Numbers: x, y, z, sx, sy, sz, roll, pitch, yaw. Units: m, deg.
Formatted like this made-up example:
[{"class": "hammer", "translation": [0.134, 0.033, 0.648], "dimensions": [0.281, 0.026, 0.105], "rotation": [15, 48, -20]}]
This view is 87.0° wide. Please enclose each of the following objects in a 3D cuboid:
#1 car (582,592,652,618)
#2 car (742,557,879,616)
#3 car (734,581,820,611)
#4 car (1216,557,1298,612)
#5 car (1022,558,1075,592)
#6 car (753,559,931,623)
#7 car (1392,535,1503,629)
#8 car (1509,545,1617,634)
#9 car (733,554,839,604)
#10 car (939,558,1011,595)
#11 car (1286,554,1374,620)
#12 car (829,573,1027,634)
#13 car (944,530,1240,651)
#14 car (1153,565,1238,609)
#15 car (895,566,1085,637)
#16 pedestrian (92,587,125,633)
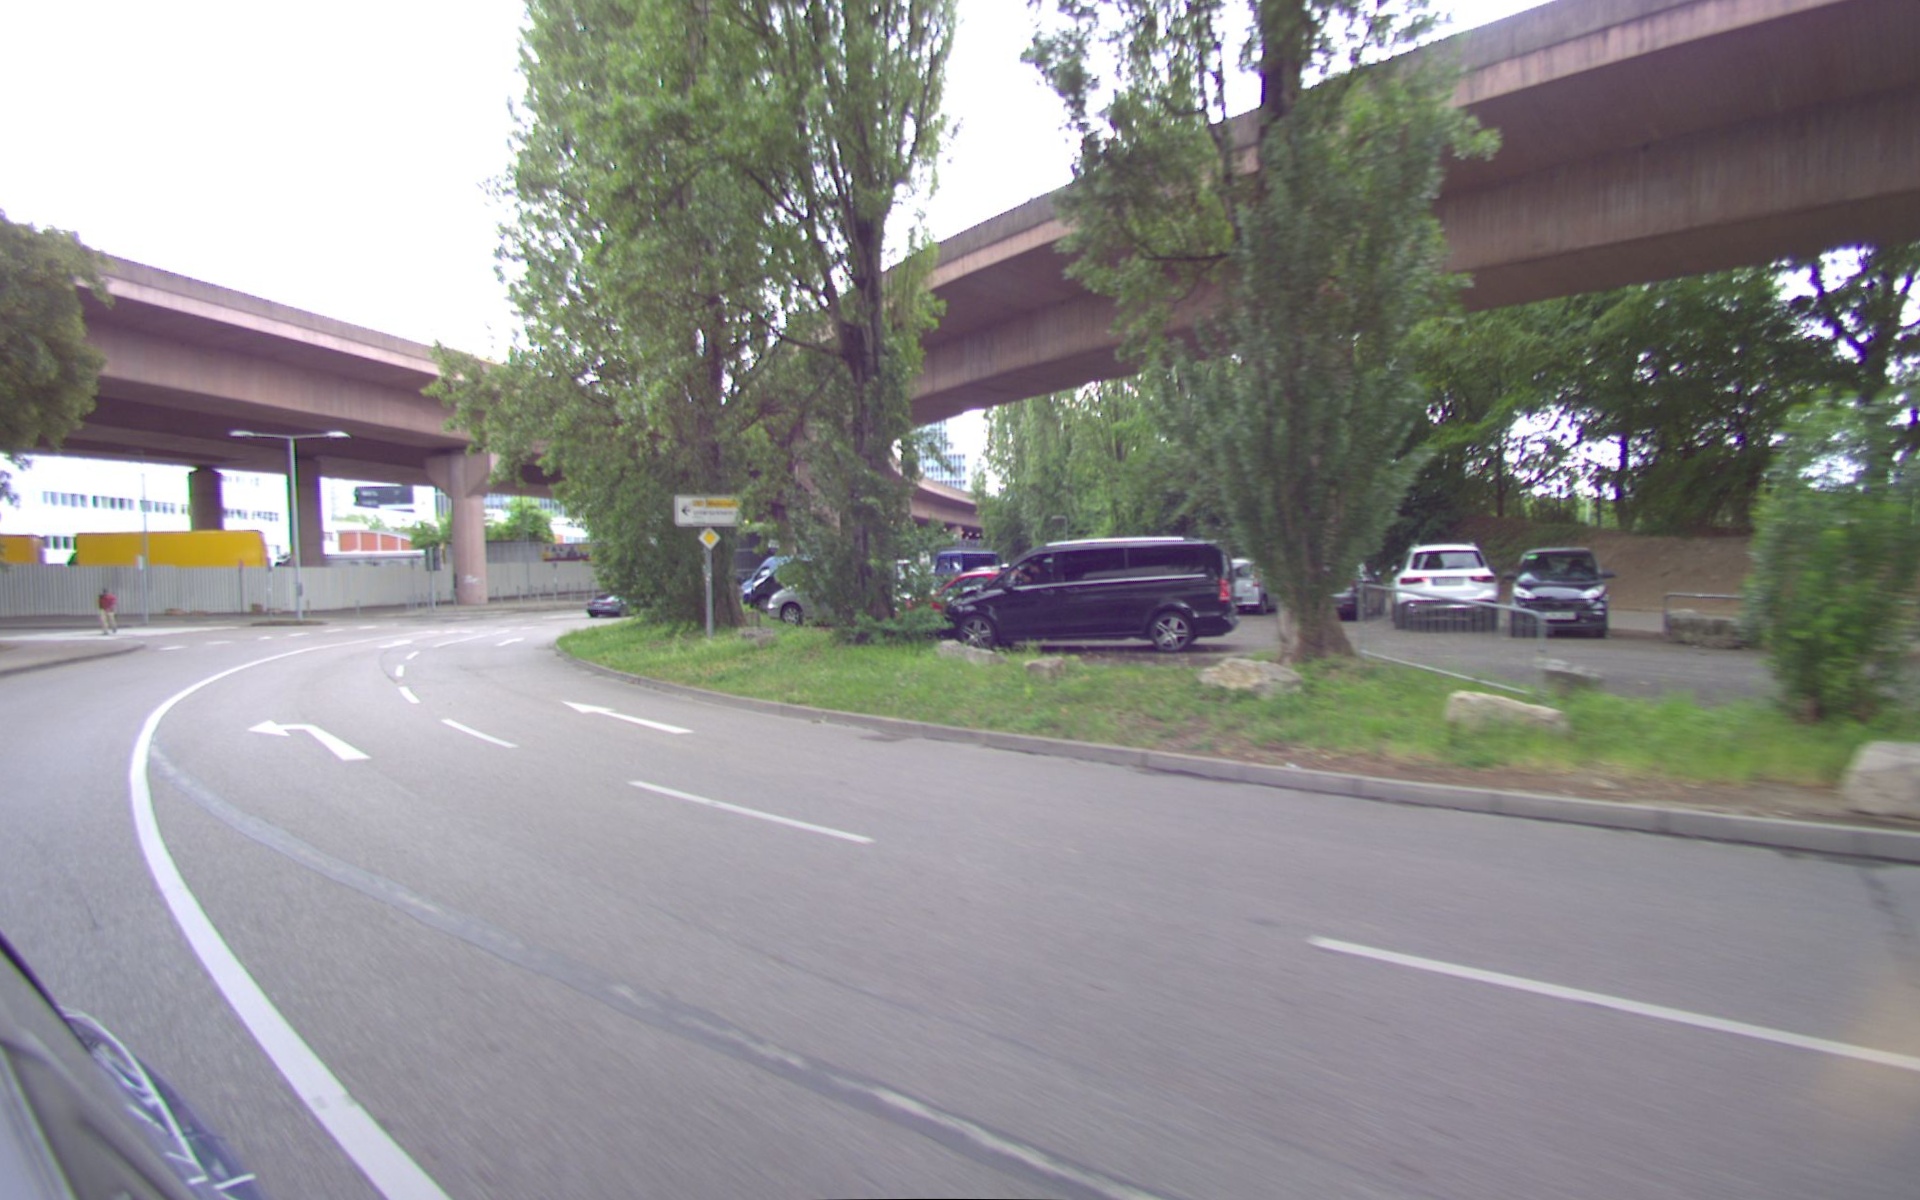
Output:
[{"class": "car", "translation": [-19.233, 0.272, 56.947], "dimensions": [1.910, 1.369, 4.746], "rotation": [0, 1, 6]}, {"class": "car", "translation": [-5.506, -0.507, 37.199], "dimensions": [4.691, 2.029, 1.842], "rotation": [1, 0, 23]}, {"class": "car", "translation": [-8.297, -0.171, 45.983], "dimensions": [3.593, 1.243, 1.350], "rotation": [1, 0, 14]}, {"class": "car", "translation": [8.158, -0.442, 27.637], "dimensions": [1.370, 1.399, 3.389], "rotation": [0, 2, 30]}, {"class": "car", "translation": [3.427, -0.973, 38.817], "dimensions": [1.386, 1.244, 2.961], "rotation": [0, 1, 18]}, {"class": "car", "translation": [-3.275, -0.269, 28.049], "dimensions": [4.640, 1.686, 1.686], "rotation": [0, 1, 19]}, {"class": "car", "translation": [9.908, -0.383, 20.817], "dimensions": [1.723, 1.720, 4.035], "rotation": [0, 1, 21]}, {"class": "car", "translation": [11.026, -0.225, 18.688], "dimensions": [1.532, 1.475, 3.832], "rotation": [0, 2, 28]}, {"class": "car", "translation": [-9.559, -1.147, 55.490], "dimensions": [5.653, 2.600, 1.814], "rotation": [1, 0, 24]}, {"class": "car", "translation": [0.761, -1.197, 50.811], "dimensions": [1.643, 1.813, 3.491], "rotation": [0, 2, 45]}, {"class": "car", "translation": [9.100, -0.349, 24.700], "dimensions": [1.733, 1.475, 3.837], "rotation": [0, 1, 25]}, {"class": "car", "translation": [-0.774, 0.060, 24.439], "dimensions": [4.483, 1.374, 1.685], "rotation": [0, 1, 21]}, {"class": "car", "translation": [2.337, -0.163, 17.863], "dimensions": [4.934, 1.931, 1.846], "rotation": [0, 1, 19]}, {"class": "car", "translation": [7.071, -0.404, 30.244], "dimensions": [1.318, 1.244, 2.938], "rotation": [0, 2, 40]}, {"class": "car", "translation": [0.638, 0.025, 21.142], "dimensions": [3.675, 1.390, 1.555], "rotation": [0, 1, 19]}, {"class": "pedestrian", "translation": [-31.425, 0.355, 37.373], "dimensions": [0.741, 1.693, 0.857], "rotation": [-1, 1, -27]}]
